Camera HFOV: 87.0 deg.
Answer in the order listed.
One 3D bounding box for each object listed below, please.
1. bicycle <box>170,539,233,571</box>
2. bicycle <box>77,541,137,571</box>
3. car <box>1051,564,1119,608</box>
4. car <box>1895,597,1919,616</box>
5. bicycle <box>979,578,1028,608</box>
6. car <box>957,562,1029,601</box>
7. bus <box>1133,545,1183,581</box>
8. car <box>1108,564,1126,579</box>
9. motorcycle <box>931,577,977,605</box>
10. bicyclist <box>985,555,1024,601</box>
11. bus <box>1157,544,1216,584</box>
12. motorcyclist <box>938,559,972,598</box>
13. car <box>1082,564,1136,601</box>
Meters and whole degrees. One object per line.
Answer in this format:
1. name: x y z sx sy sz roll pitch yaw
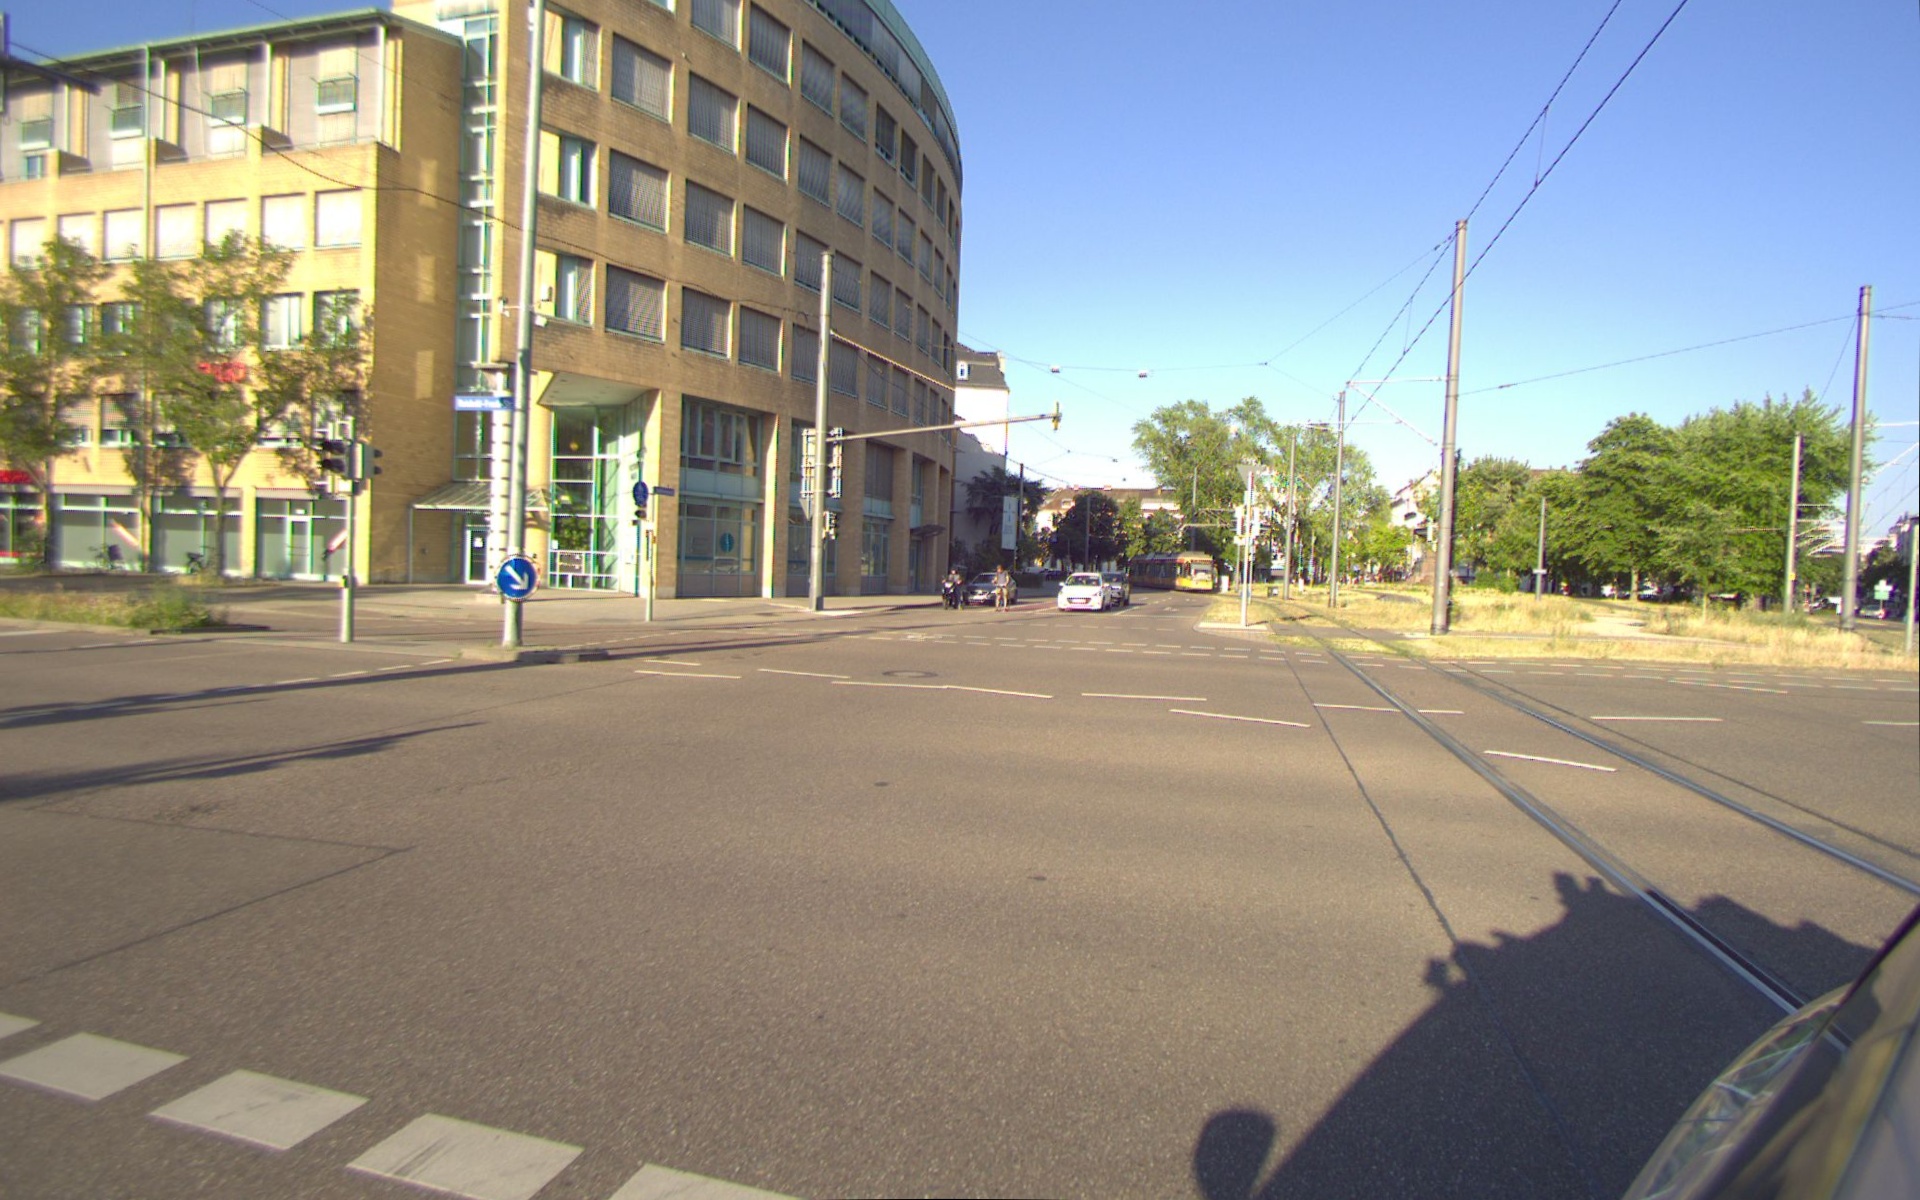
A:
1. bicycle: -26.014 -1.530 34.701 2.053 1.007 0.645 3 2 18
2. bicycle: -30.465 -1.576 36.155 2.053 1.007 0.645 3 2 18
3. car: 4.891 -0.584 39.159 1.967 1.510 4.157 3 2 16
4. car: 99.138 0.654 105.806 1.642 1.836 3.441 4 3 38
5. bicycle: 1.648 -0.285 37.414 1.138 1.012 2.956 3 2 16
6. car: 1.526 -0.861 44.784 1.960 1.556 4.471 3 2 18
7. bus: 19.488 -3.657 100.168 2.307 3.249 11.089 2 2 -2
8. car: 19.933 -3.651 128.631 1.818 1.840 3.982 3 2 15
9. motorcycle: -0.207 -0.374 39.095 1.018 0.975 2.713 3 2 17
10. bicyclist: 1.645 -0.822 37.272 1.138 1.591 1.221 3 2 16
11. bus: 19.795 -3.186 89.095 2.364 3.249 11.125 2 2 -1
12. motorcyclist: -0.187 -0.826 39.097 1.018 1.453 1.063 3 2 17
13. car: 6.799 -0.812 45.869 1.796 1.510 4.044 3 2 17
